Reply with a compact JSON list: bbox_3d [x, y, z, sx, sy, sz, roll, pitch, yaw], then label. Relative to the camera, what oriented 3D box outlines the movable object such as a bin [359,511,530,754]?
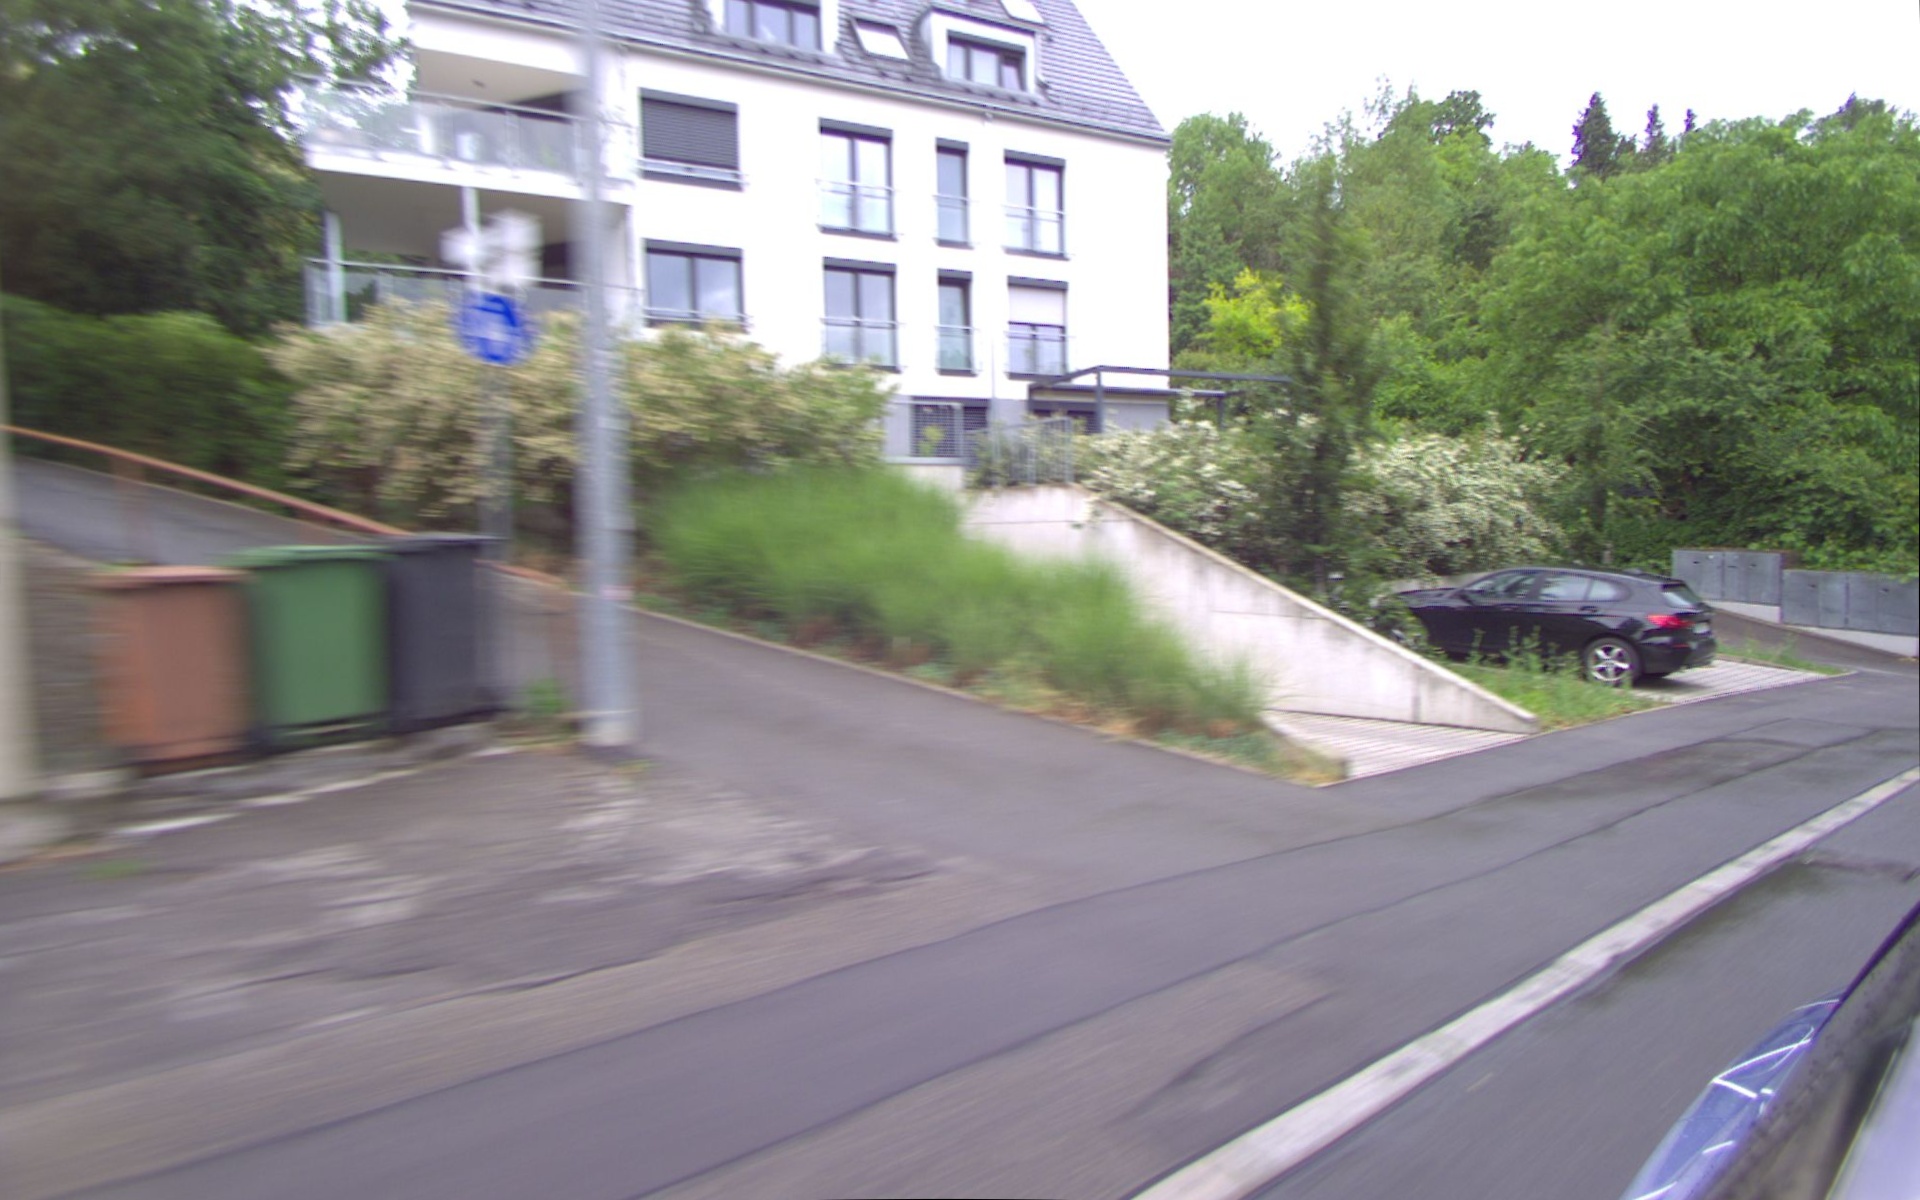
[{"bbox_3d":[-2.862,0.144,5.621,0.700,1.238,0.574,4,4,34],"label":"movable object such as a bin"}]

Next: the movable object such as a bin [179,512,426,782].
[{"bbox_3d":[-3.305,0.182,5.099,0.856,1.200,0.778,4,4,34],"label":"movable object such as a bin"}]

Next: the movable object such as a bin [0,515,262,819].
[{"bbox_3d":[-3.706,0.227,4.455,0.856,1.156,0.790,4,4,34],"label":"movable object such as a bin"}]

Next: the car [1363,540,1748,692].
[{"bbox_3d":[8.022,0.073,14.008,1.709,1.525,4.184,-2,7,-38],"label":"car"}]
